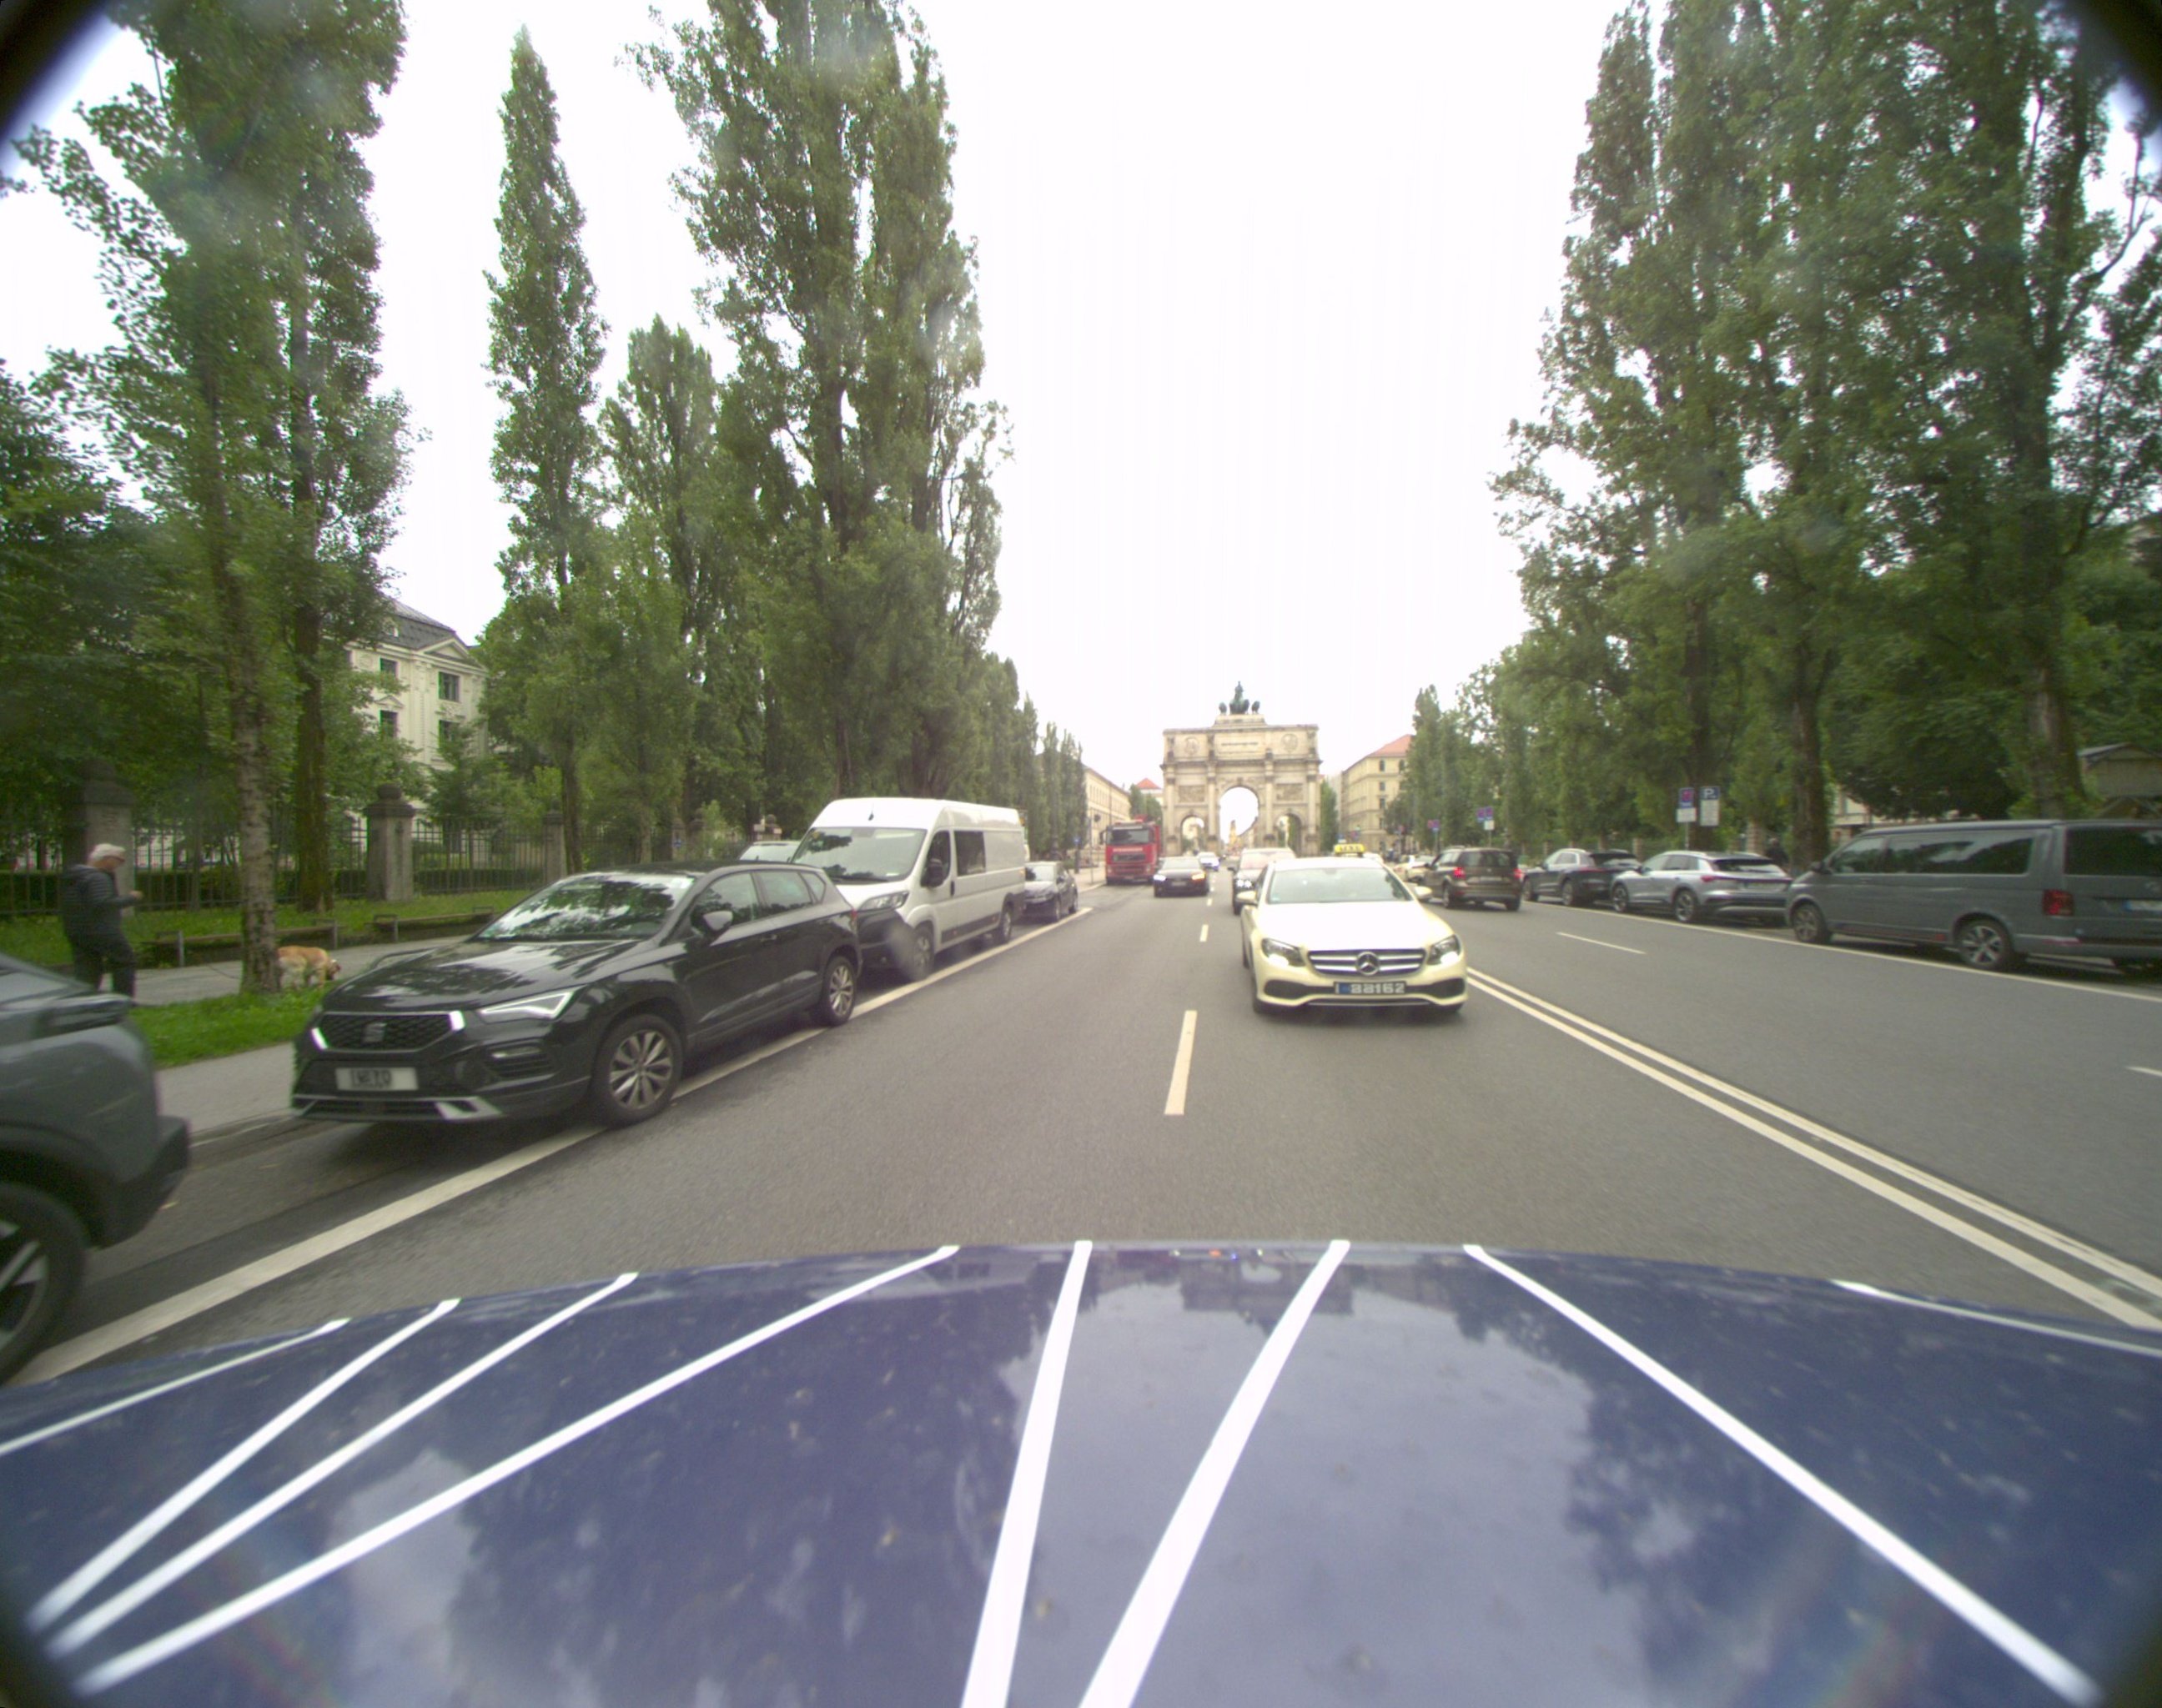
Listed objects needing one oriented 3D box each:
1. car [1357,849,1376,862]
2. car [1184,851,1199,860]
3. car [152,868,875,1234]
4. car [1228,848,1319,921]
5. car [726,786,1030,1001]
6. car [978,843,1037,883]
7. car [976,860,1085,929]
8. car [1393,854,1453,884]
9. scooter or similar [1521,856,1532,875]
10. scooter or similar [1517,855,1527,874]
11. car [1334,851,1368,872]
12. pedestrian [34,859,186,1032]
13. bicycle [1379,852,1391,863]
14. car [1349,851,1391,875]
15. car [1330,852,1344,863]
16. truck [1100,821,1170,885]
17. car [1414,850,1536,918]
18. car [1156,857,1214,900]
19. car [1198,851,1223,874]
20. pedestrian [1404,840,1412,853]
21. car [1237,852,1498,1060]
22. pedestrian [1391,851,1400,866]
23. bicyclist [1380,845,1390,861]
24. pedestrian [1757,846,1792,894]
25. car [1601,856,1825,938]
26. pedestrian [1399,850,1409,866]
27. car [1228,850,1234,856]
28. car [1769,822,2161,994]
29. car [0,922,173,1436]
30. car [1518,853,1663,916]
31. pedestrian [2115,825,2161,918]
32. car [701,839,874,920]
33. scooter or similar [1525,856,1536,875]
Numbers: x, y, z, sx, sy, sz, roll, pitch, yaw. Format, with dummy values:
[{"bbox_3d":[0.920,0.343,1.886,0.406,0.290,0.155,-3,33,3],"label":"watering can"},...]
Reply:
[{"bbox_3d":[44.046,0.159,117.299,2.002,1.844,4.994,1,1,12],"label":"car"},{"bbox_3d":[22.589,0.300,155.811,1.784,1.739,4.328,0,0,26],"label":"car"},{"bbox_3d":[-3.357,0.969,5.731,1.824,1.581,4.226,-1,0,10],"label":"car"},{"bbox_3d":[4.869,0.702,19.769,1.952,1.615,4.414,-2,0,10],"label":"car"},{"bbox_3d":[-2.612,0.471,11.973,2.078,2.464,6.288,-2,0,10],"label":"car"},{"bbox_3d":[-3.802,0.437,40.103,1.884,1.933,4.888,-2,0,9],"label":"car"},{"bbox_3d":[-1.128,0.927,18.942,1.757,1.441,4.003,-3,0,10],"label":"car"},{"bbox_3d":[18.237,0.769,40.753,1.934,1.488,4.795,0,0,11],"label":"car"},{"bbox_3d":[29.402,0.746,50.164,0.243,1.194,1.123,0,1,11],"label":"scooter or similar"},{"bbox_3d":[29.135,0.699,50.215,0.258,1.235,1.142,0,1,11],"label":"scooter or similar"},{"bbox_3d":[21.968,0.614,61.930,1.821,1.550,4.862,2,1,10],"label":"car"},{"bbox_3d":[-9.705,0.883,7.615,0.716,1.650,0.633,-1,1,10],"label":"pedestrian"},{"bbox_3d":[28.038,0.325,70.105,0.709,0.933,1.736,-1,0,9],"label":"bicycle"},{"bbox_3d":[20.903,0.591,55.153,1.941,1.615,4.968,0,1,10],"label":"car"},{"bbox_3d":[39.551,0.478,117.270,1.783,1.662,4.004,0,0,15],"label":"car"},{"bbox_3d":[3.222,-0.080,42.086,2.718,3.092,10.434,0,0,11],"label":"truck"},{"bbox_3d":[10.663,0.721,20.913,1.788,1.646,4.116,1,1,10],"label":"car"},{"bbox_3d":[3.876,0.856,28.101,1.921,1.320,4.414,-2,0,9],"label":"car"},{"bbox_3d":[10.719,0.661,62.835,1.888,1.846,4.316,-1,0,11],"label":"car"},{"bbox_3d":[49.464,-1.170,114.893,0.795,2.002,0.754,-1,1,-24],"label":"pedestrian"},{"bbox_3d":[2.731,0.821,8.359,1.918,1.566,4.693,-2,0,12],"label":"car"},{"bbox_3d":[34.730,0.453,83.995,0.845,1.668,0.968,0,0,16],"label":"pedestrian"},{"bbox_3d":[28.046,-0.076,70.155,0.695,1.489,0.862,0,1,9],"label":"bicyclist"},{"bbox_3d":[24.195,0.566,26.527,0.619,1.650,0.705,-1,1,11],"label":"pedestrian"},{"bbox_3d":[14.234,0.865,17.536,1.894,1.575,4.658,1,0,10],"label":"car"},{"bbox_3d":[35.481,0.439,83.496,0.845,1.668,0.968,0,0,16],"label":"pedestrian"},{"bbox_3d":[48.287,-0.310,244.411,1.997,2.002,4.398,0,0,10],"label":"car"},{"bbox_3d":[12.896,0.619,10.993,1.997,1.945,4.941,1,0,10],"label":"car"},{"bbox_3d":[-4.343,1.020,0.738,1.654,1.494,4.117,-2,0,10],"label":"car"},{"bbox_3d":[14.720,0.796,22.297,1.785,1.586,4.617,1,0,10],"label":"car"},{"bbox_3d":[22.647,0.366,16.165,0.550,1.948,0.532,-1,1,10],"label":"pedestrian"},{"bbox_3d":[-7.784,0.594,20.863,1.997,1.935,5.087,0,0,11],"label":"car"},{"bbox_3d":[29.661,0.741,50.112,0.243,1.194,1.123,0,1,11],"label":"scooter or similar"}]
